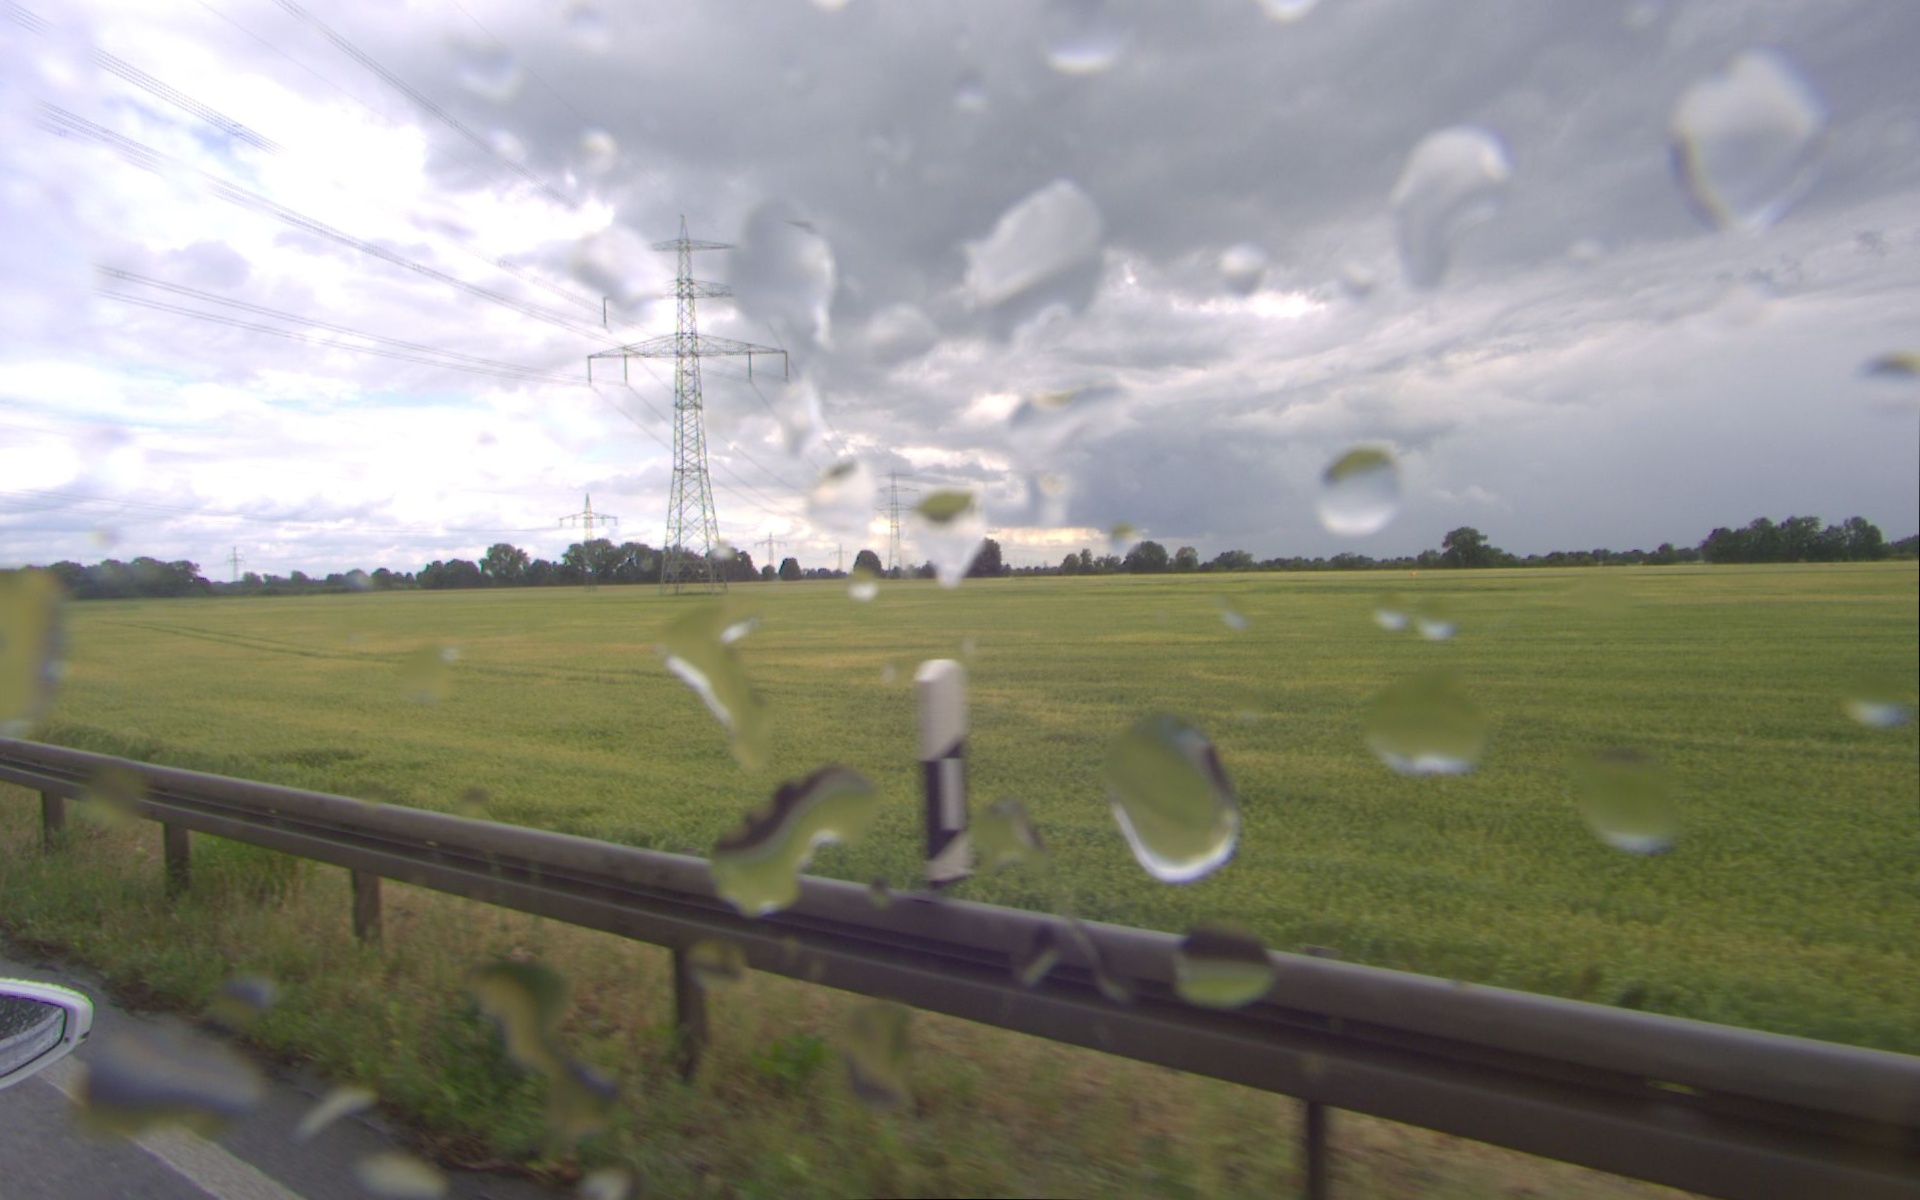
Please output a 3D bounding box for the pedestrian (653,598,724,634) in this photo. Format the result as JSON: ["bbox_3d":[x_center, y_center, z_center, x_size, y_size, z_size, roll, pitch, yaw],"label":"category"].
[{"bbox_3d":[-16.329,0.988,60.152,3.942,2.039,1.991,-1,-2,32],"label":"pedestrian"}]
